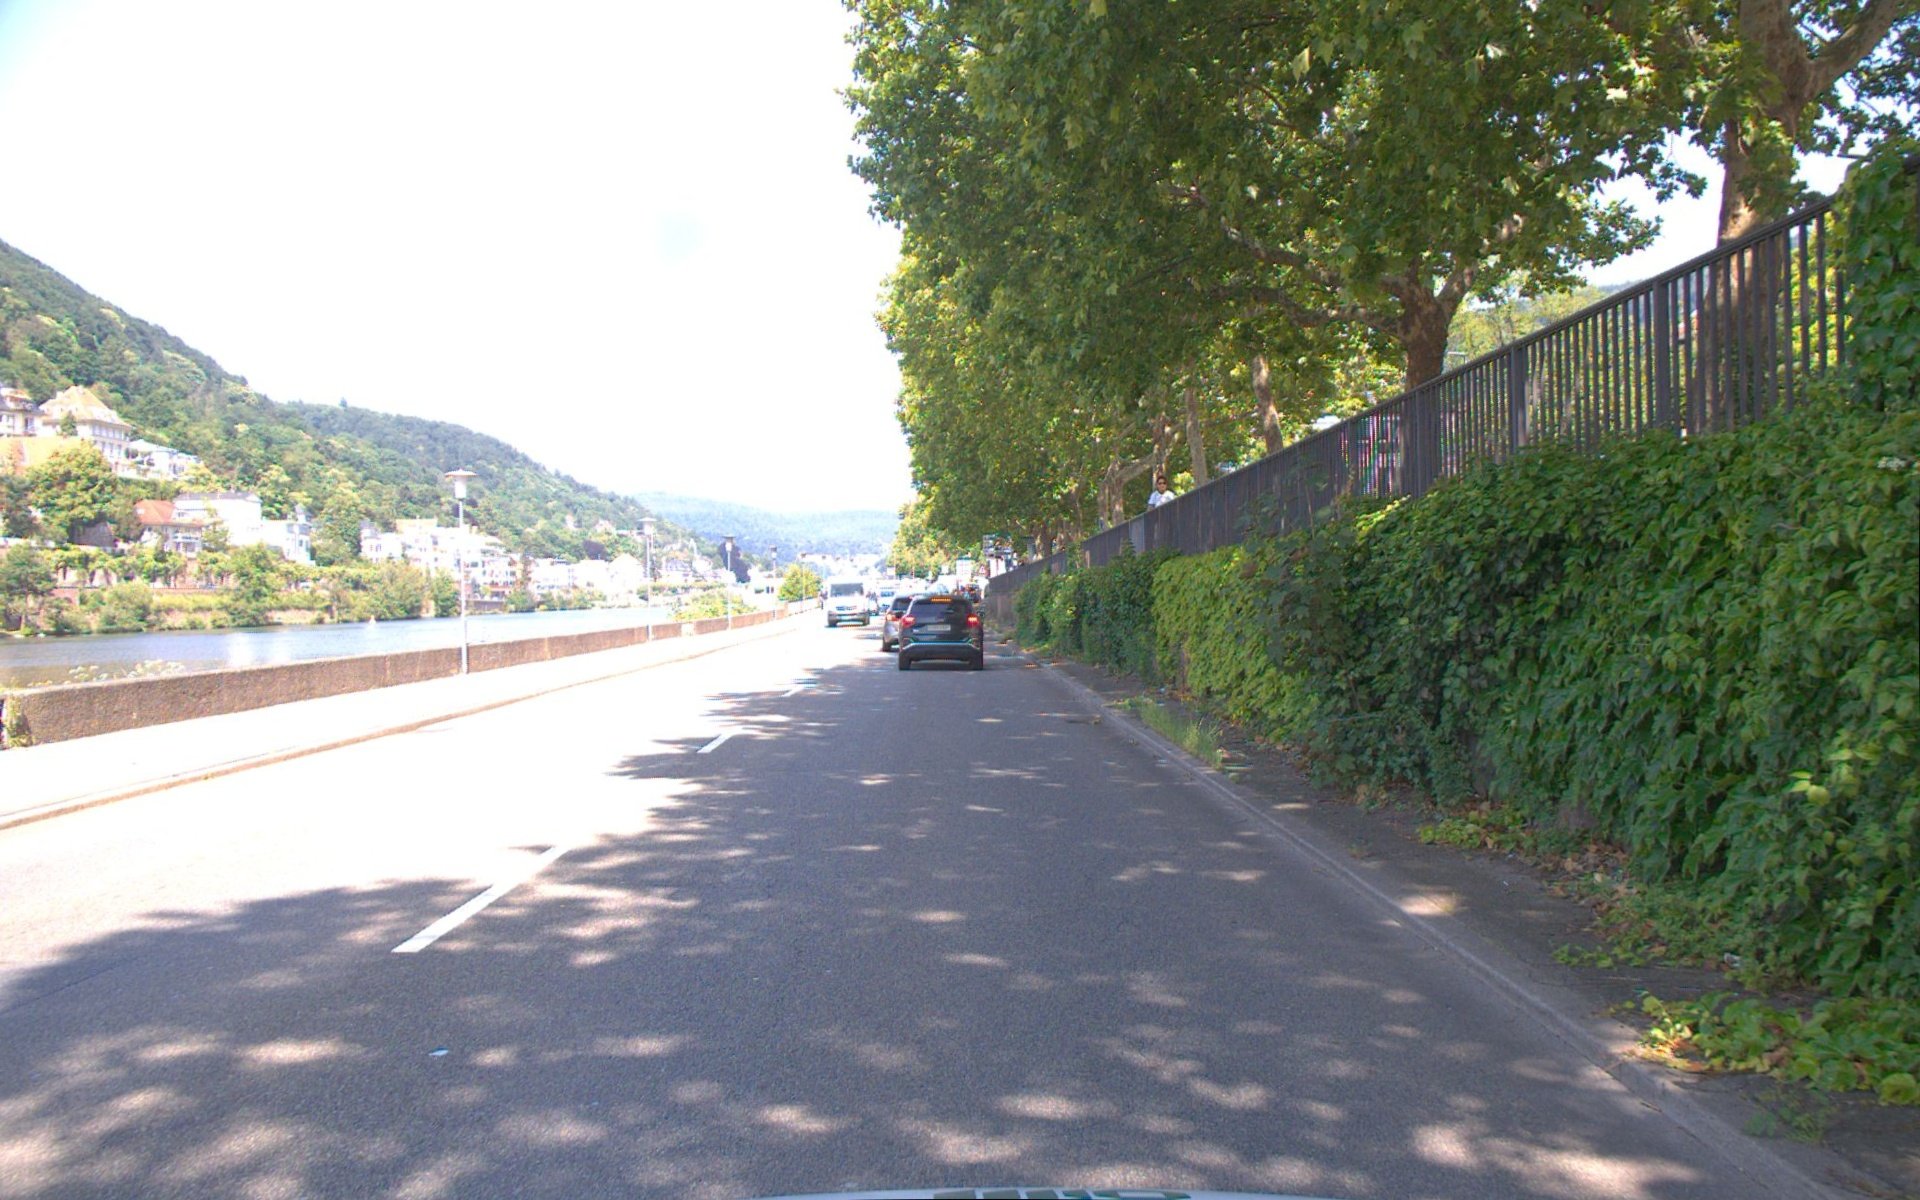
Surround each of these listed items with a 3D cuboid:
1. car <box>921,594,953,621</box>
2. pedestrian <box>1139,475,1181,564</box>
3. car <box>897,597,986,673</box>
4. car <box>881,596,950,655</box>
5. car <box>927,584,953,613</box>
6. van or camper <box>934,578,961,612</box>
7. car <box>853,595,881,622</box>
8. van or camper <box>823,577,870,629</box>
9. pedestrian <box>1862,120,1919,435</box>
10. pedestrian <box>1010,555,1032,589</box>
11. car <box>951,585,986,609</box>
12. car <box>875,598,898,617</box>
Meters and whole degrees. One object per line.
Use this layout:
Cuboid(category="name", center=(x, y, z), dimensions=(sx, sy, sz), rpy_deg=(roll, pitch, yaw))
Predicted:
Cuboid(category="car", center=(-1.356, 0.433, 96.722), dimensions=(1.791, 1.469, 3.999), rpy_deg=(-2, 0, -2))
Cuboid(category="pedestrian", center=(3.727, -1.488, 30.827), dimensions=(0.651, 1.619, 0.650), rpy_deg=(-1, 0, -2))
Cuboid(category="car", center=(-0.425, 0.694, 35.016), dimensions=(1.791, 1.512, 3.999), rpy_deg=(0, 0, -2))
Cuboid(category="car", center=(-1.225, 0.665, 45.528), dimensions=(1.791, 1.537, 3.999), rpy_deg=(0, 0, -2))
Cuboid(category="car", center=(-1.654, -0.130, 135.587), dimensions=(1.953, 2.207, 3.998), rpy_deg=(-2, 0, -2))
Cuboid(category="van or camper", center=(-1.140, -0.435, 148.460), dimensions=(2.262, 2.897, 4.246), rpy_deg=(-2, 0, 0))
Cuboid(category="car", center=(-6.167, 0.572, 109.892), dimensions=(1.697, 1.679, 4.176), rpy_deg=(-2, 0, -2))
Cuboid(category="van or camper", center=(-5.574, 0.128, 81.828), dimensions=(2.035, 2.440, 5.383), rpy_deg=(-2, 0, -1))
Cuboid(category="pedestrian", center=(4.794, -1.541, 7.915), dimensions=(0.573, 1.444, 0.588), rpy_deg=(-1, 0, -9))
Cuboid(category="pedestrian", center=(2.969, -1.377, 80.965), dimensions=(0.918, 1.607, 1.027), rpy_deg=(-3, 0, -3))
Cuboid(category="car", center=(0.799, -0.314, 160.507), dimensions=(3.036, 2.048, 5.822), rpy_deg=(-3, 0, -2))
Cuboid(category="car", center=(-5.776, 0.578, 130.983), dimensions=(1.696, 1.467, 4.044), rpy_deg=(-2, 0, -2))
